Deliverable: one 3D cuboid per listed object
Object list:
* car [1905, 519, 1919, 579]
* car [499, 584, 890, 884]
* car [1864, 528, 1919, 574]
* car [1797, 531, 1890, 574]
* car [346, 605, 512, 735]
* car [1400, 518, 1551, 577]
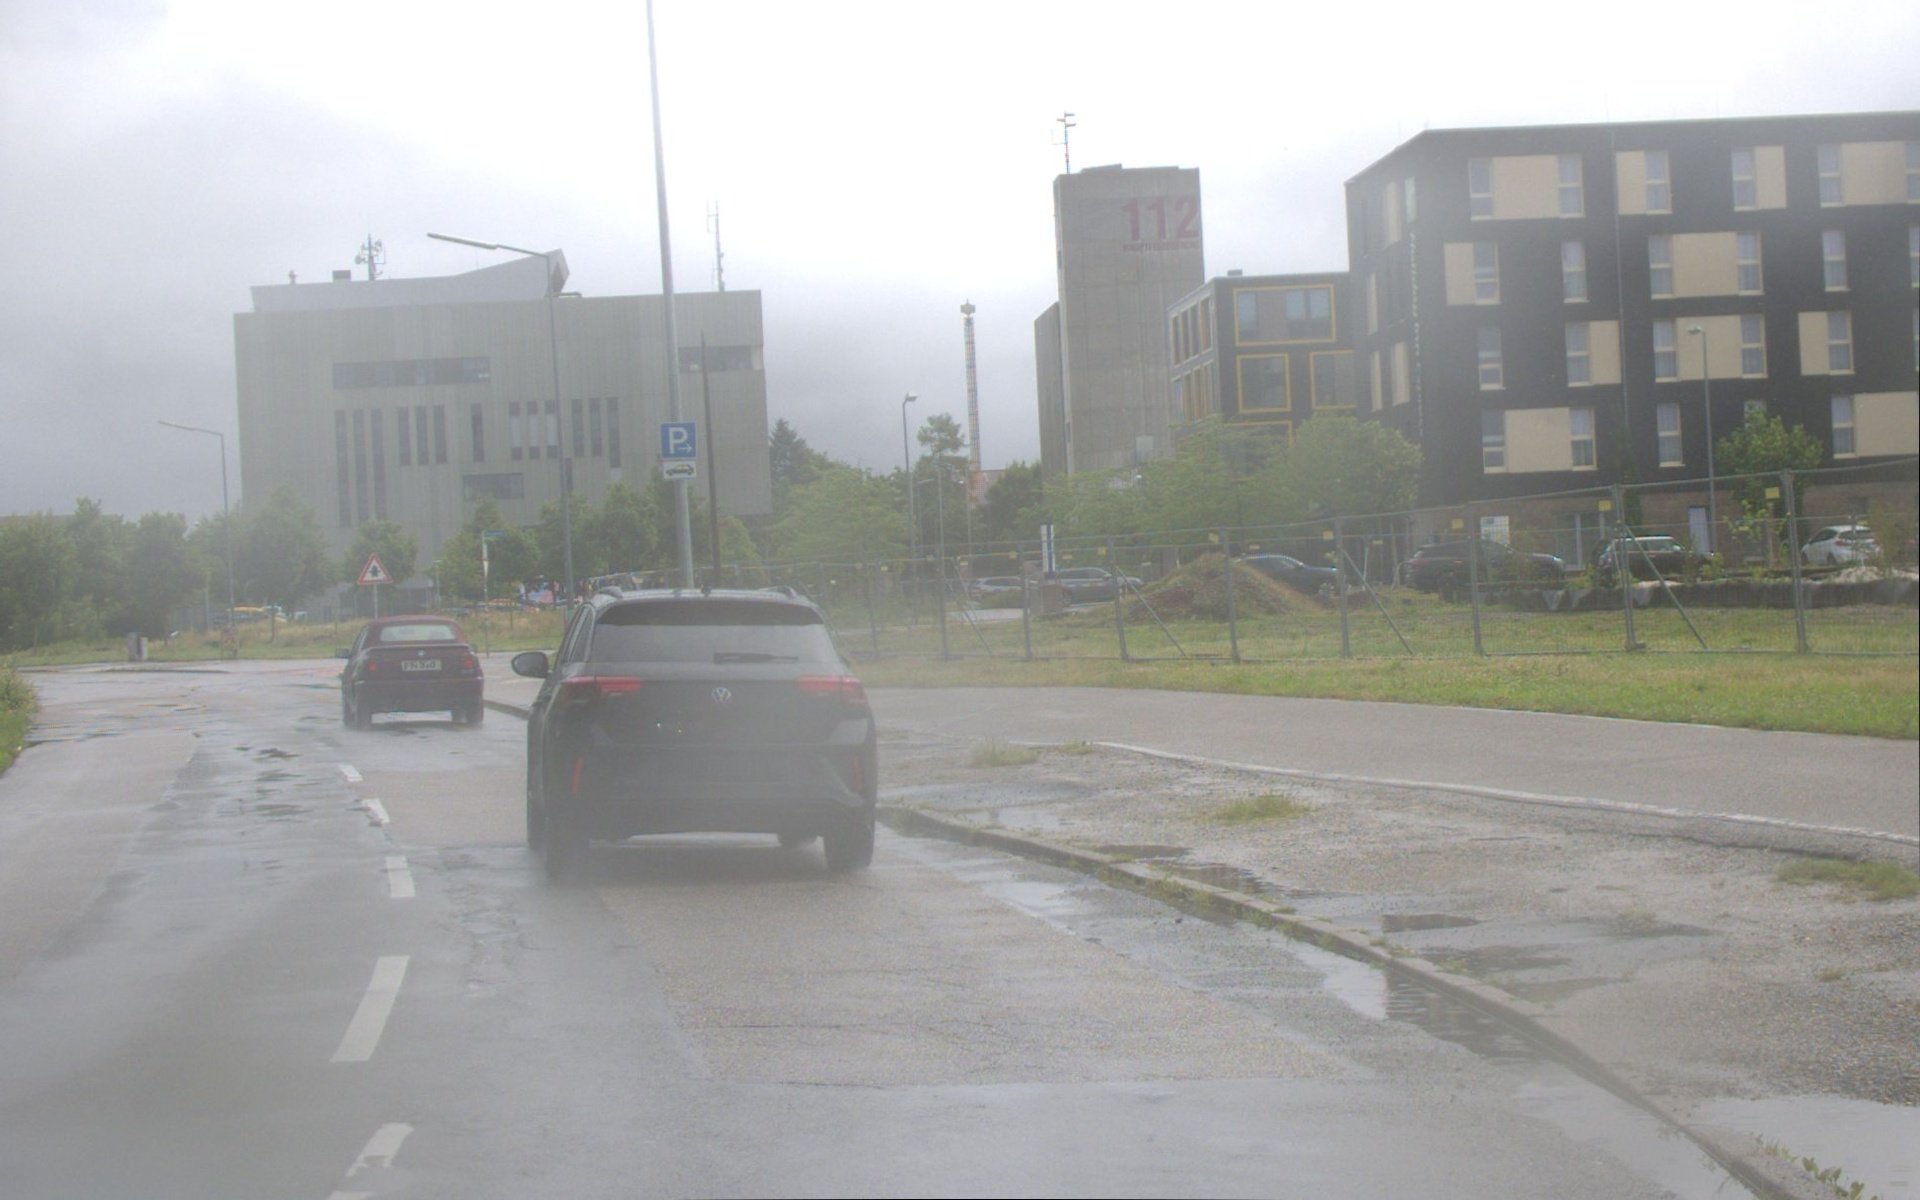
[{"bbox_3d":[30.825,-1.464,103.059,4.323,1.766,2.000,2,0,-4],"label":"car"},{"bbox_3d":[-1.588,0.667,19.478,1.986,1.515,4.001,0,0,-7],"label":"car"},{"bbox_3d":[31.248,-1.606,113.282,1.638,1.392,3.782,-1,-1,-5],"label":"car"},{"bbox_3d":[29.041,-1.558,113.116,1.762,1.390,3.808,0,0,-6],"label":"car"},{"bbox_3d":[-7.027,0.879,45.206,1.841,1.437,4.001,-6,1,-11],"label":"car"},{"bbox_3d":[15.183,-1.531,101.329,3.986,1.722,2.000,0,0,-8],"label":"car"}]
